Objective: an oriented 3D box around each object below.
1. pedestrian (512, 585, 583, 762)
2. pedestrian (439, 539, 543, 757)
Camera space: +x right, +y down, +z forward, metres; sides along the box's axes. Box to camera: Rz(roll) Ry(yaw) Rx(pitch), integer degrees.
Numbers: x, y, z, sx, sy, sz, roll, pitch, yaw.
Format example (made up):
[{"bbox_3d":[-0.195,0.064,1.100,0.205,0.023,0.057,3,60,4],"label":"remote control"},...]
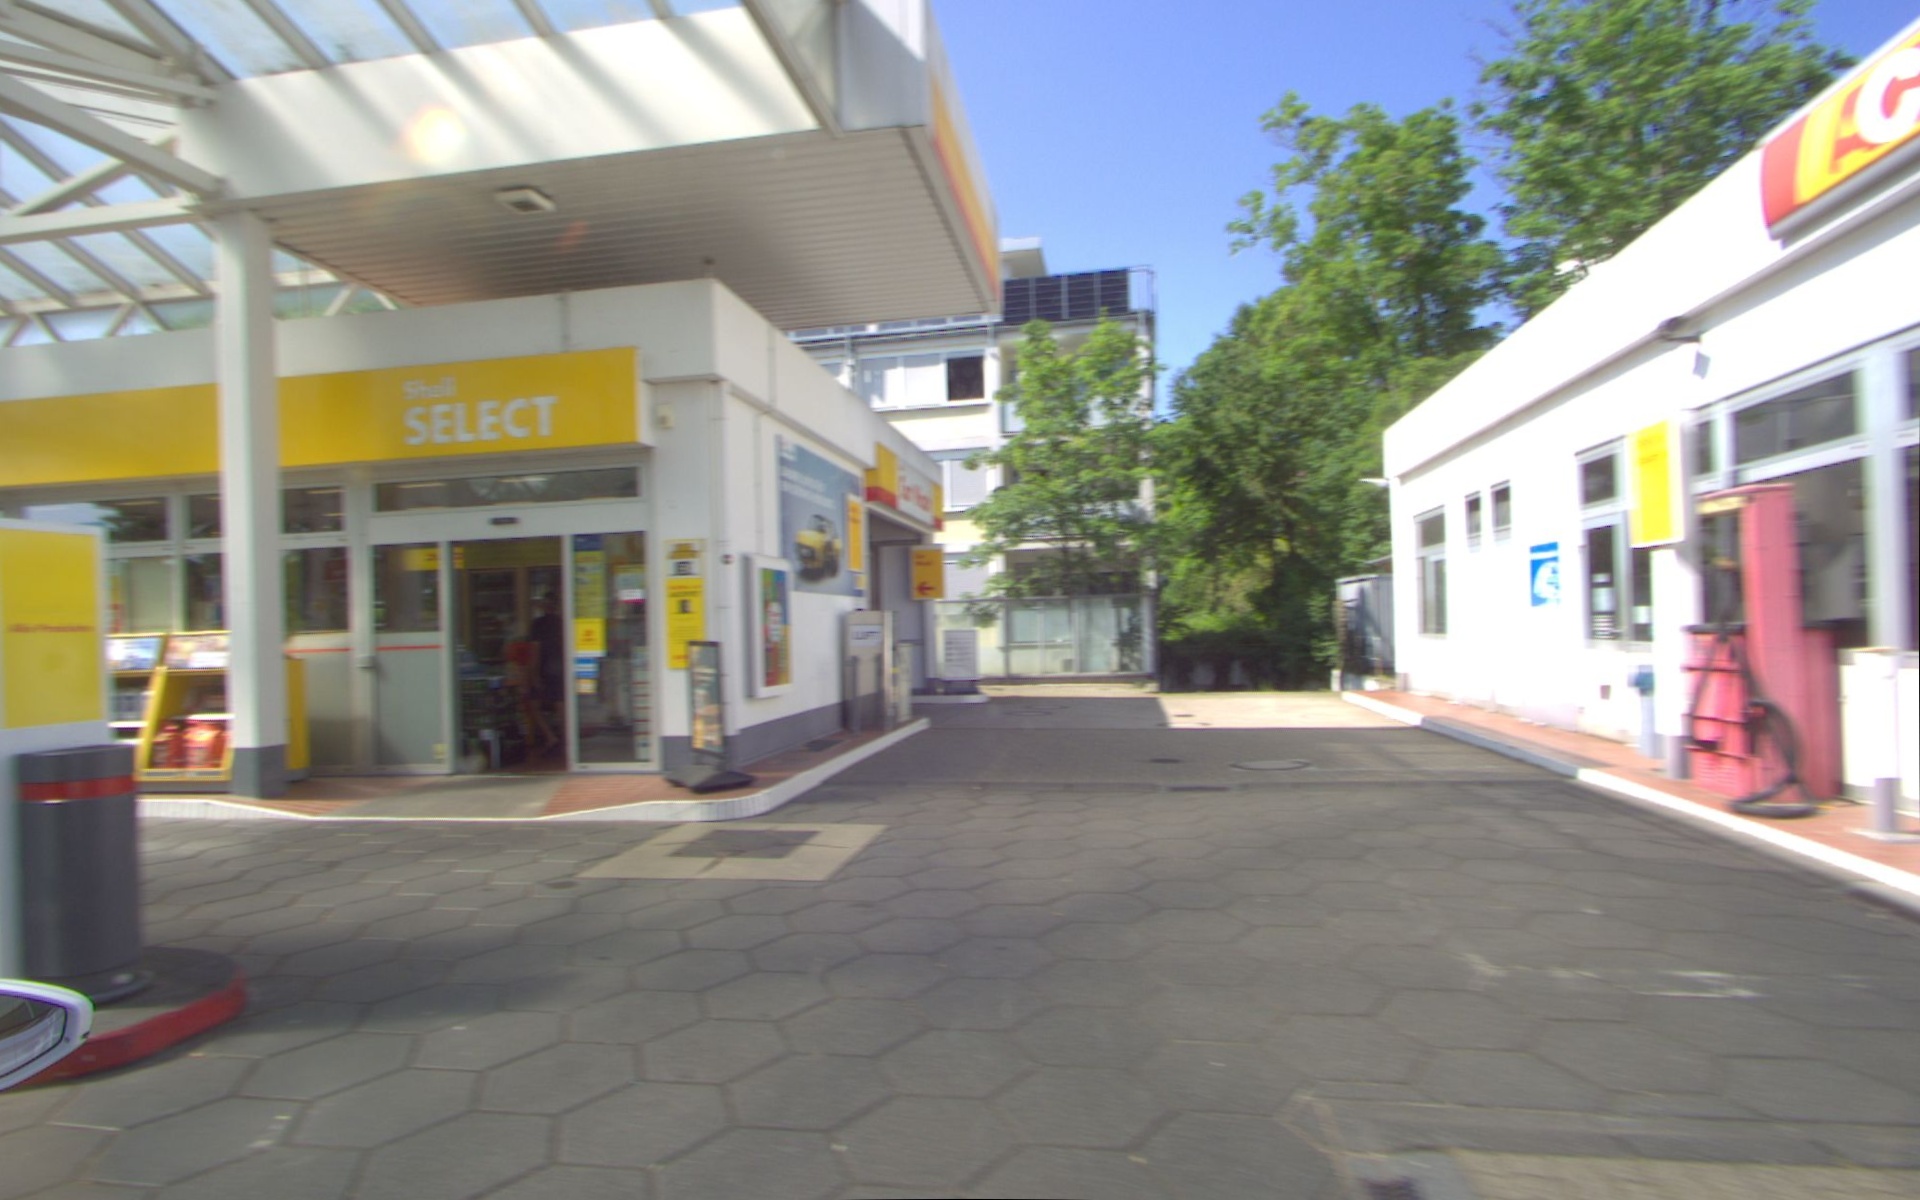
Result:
[{"bbox_3d":[-4.304,0.756,10.469,0.562,1.784,0.530,-1,-1,-11],"label":"pedestrian"},{"bbox_3d":[-4.588,0.460,9.834,0.611,2.040,0.743,-1,-1,1],"label":"pedestrian"}]
